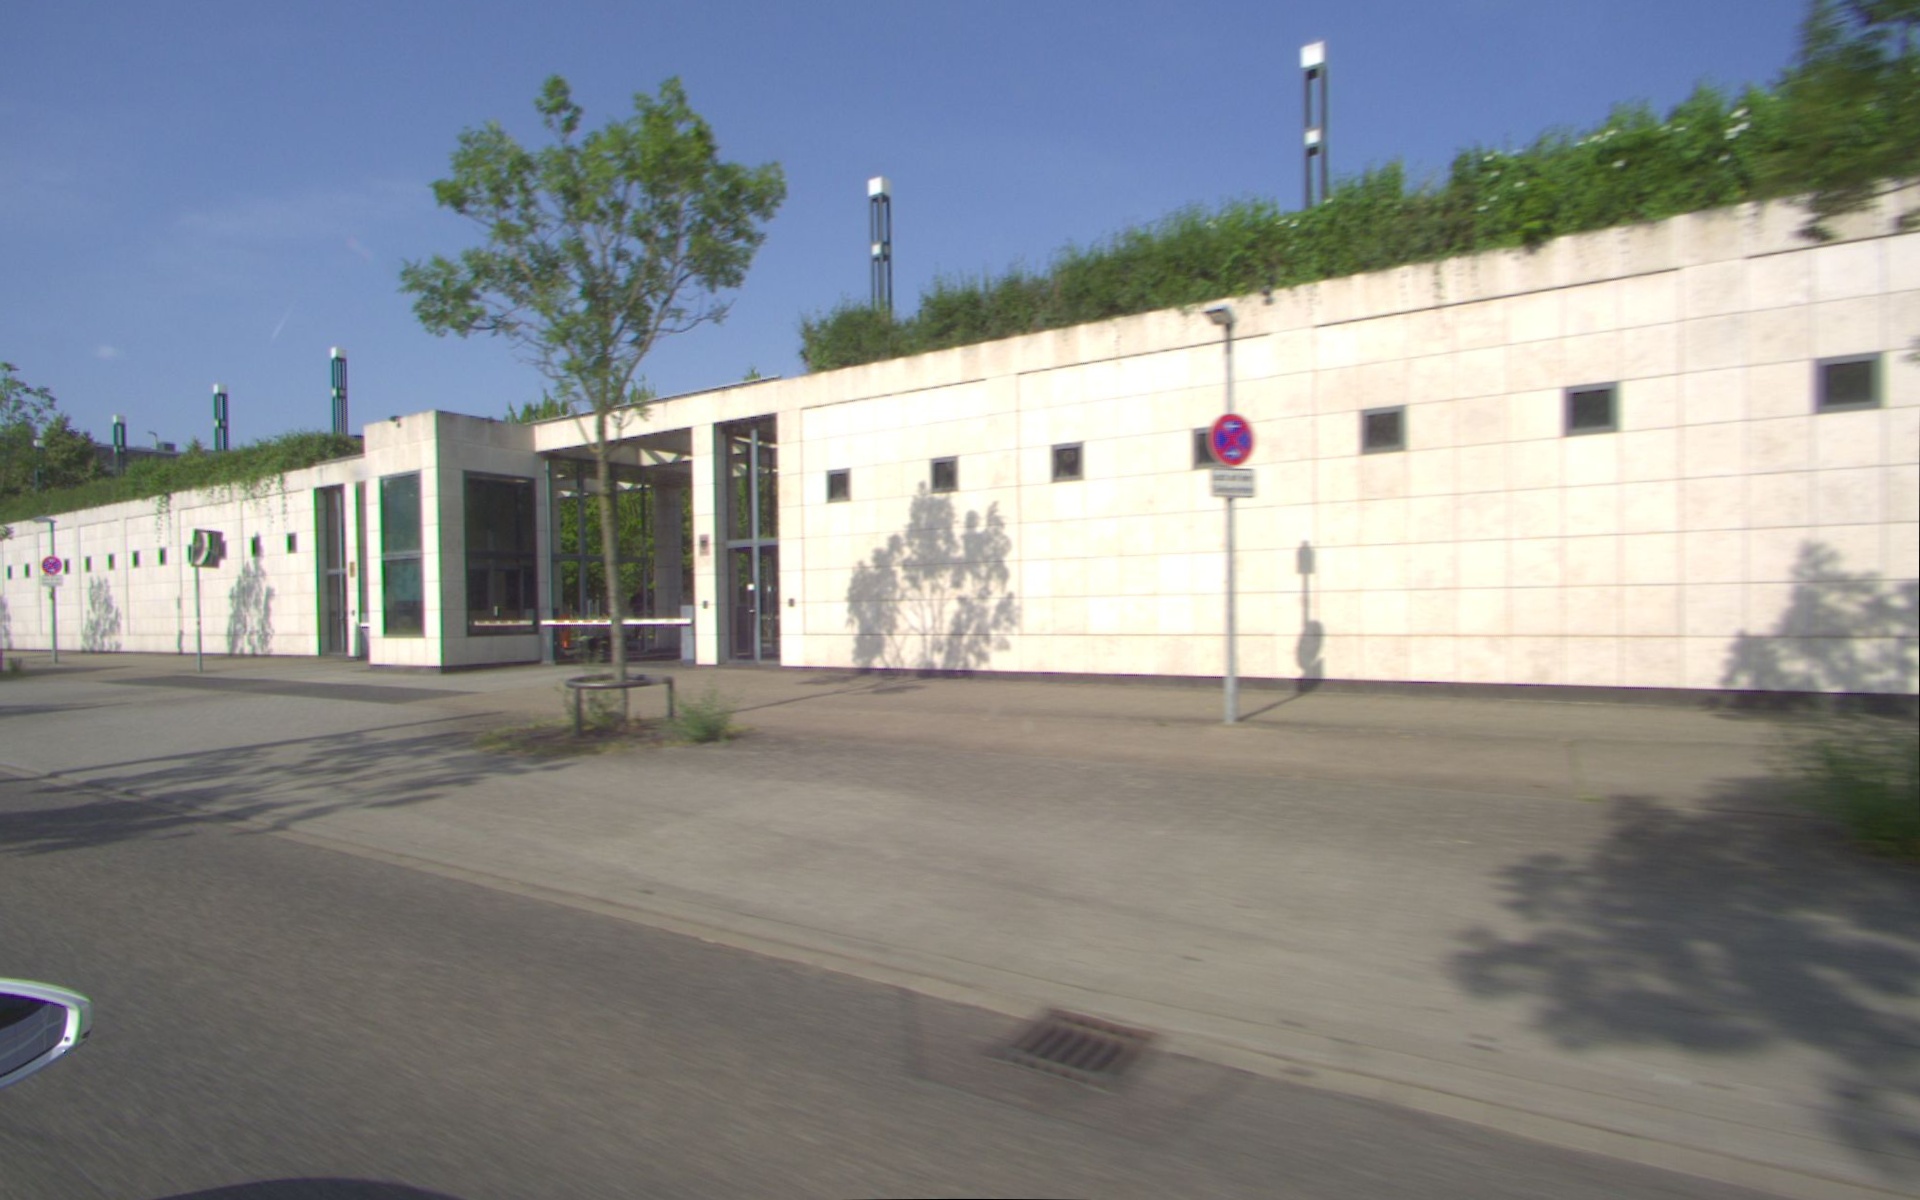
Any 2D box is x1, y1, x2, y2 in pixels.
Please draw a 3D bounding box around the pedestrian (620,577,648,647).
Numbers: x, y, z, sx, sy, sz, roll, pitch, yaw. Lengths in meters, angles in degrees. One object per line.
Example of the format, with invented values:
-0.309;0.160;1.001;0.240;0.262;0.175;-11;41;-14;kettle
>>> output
-9.009;0.341;27.657;0.583;1.896;0.557;-2;-1;-5;pedestrian
